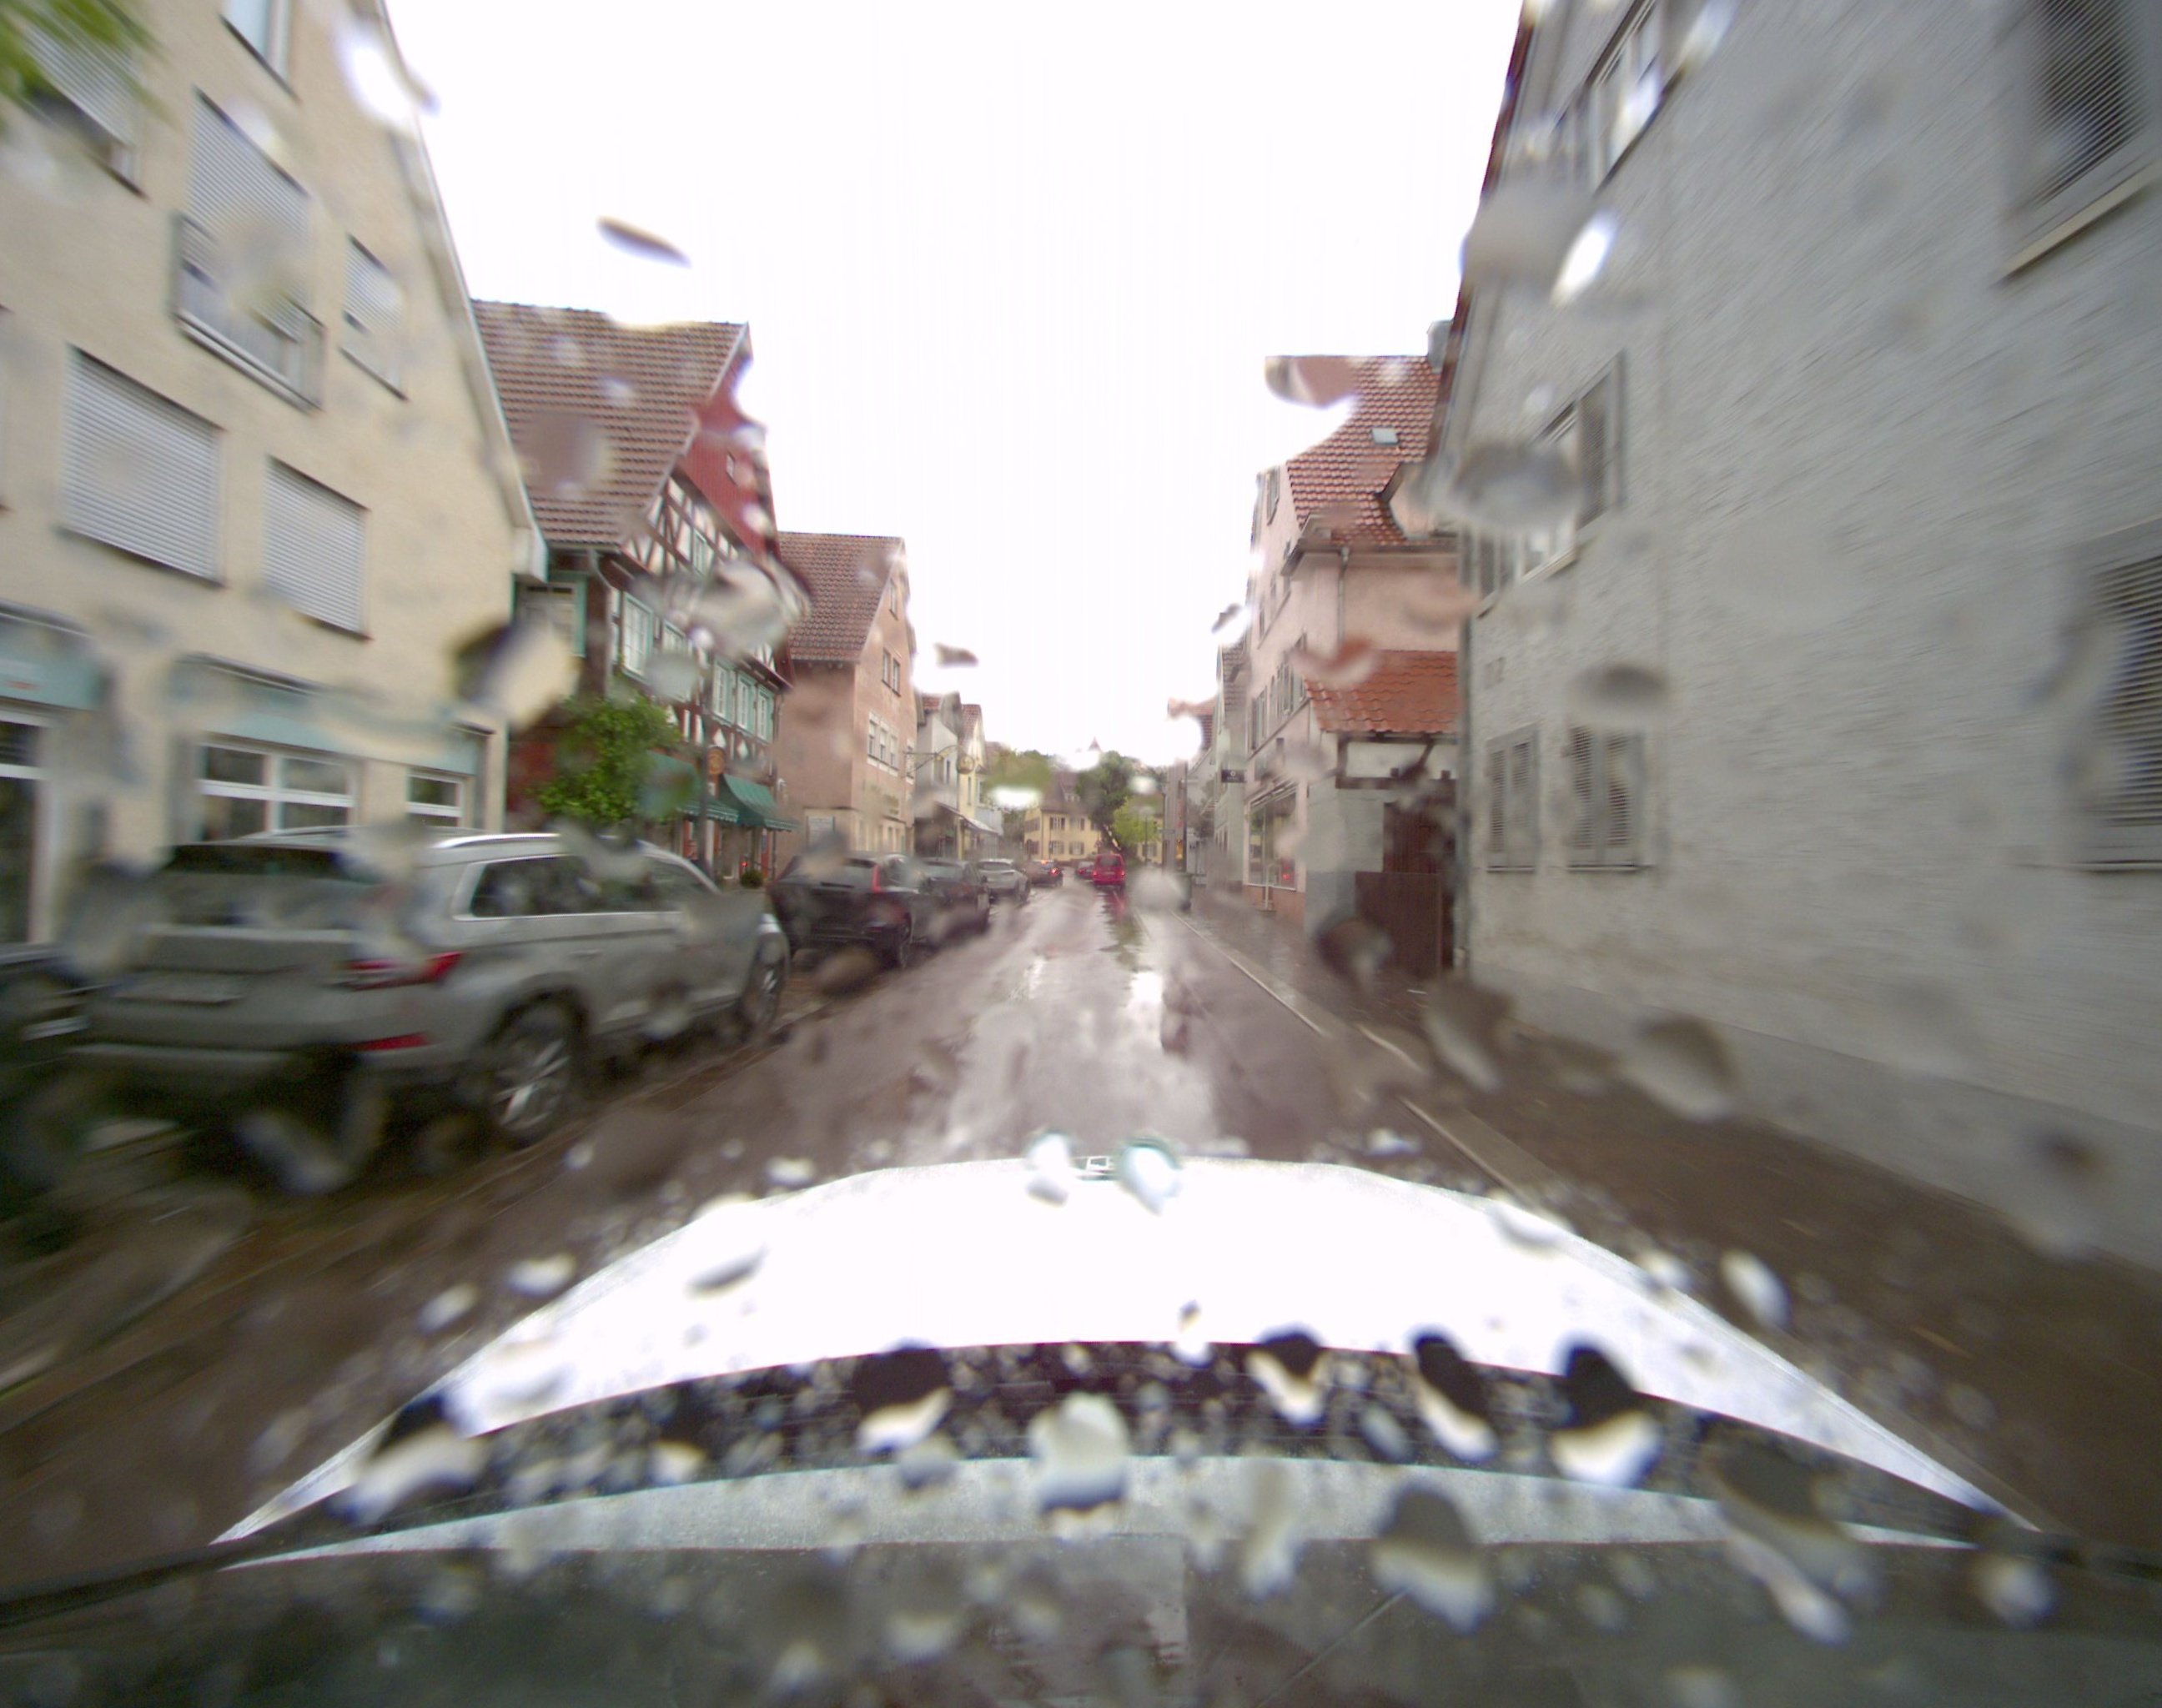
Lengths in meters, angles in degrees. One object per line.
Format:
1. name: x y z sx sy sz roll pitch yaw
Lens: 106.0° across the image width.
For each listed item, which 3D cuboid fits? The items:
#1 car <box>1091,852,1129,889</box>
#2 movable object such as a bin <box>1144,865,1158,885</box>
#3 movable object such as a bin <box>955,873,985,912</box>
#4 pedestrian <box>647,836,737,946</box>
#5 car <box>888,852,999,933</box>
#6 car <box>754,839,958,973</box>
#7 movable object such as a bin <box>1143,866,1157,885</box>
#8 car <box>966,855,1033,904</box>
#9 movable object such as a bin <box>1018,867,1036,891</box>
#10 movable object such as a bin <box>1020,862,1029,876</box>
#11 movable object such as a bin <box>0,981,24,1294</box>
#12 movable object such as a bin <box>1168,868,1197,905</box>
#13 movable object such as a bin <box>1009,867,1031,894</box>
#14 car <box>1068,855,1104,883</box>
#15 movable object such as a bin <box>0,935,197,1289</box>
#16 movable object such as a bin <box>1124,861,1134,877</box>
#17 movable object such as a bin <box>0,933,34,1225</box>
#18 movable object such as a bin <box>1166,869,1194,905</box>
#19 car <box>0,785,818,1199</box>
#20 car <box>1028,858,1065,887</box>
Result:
1. car: 1.558 0.831 43.871 1.887 1.811 4.003 3 0 2
2. movable object such as a bin: 4.002 1.195 46.387 0.765 1.080 0.599 2 -2 2
3. movable object such as a bin: -3.118 1.074 22.945 0.767 1.082 0.675 1 -2 -3
4. pedestrian: -6.252 0.586 13.157 0.785 1.682 1.176 2 -2 0
5. car: -3.012 0.781 18.693 1.774 1.538 4.289 3 0 -1
6. car: -3.259 0.649 12.855 1.818 1.666 4.643 2 1 1
7. movable object such as a bin: 4.004 1.219 47.079 0.751 1.064 0.600 2 -2 3
8. car: -2.858 0.864 29.474 1.684 1.538 4.125 2 0 4
9. movable object such as a bin: -2.453 1.150 37.102 0.706 1.052 0.704 2 -2 3
10. movable object such as a bin: -4.351 1.149 62.557 0.659 1.110 0.614 2 -2 -6
11. movable object such as a bin: -3.477 0.891 2.163 0.550 1.046 0.534 2 -2 -2
12. movable object such as a bin: 3.065 0.976 24.681 0.790 1.081 0.614 1 -2 -1
13. movable object such as a bin: -2.592 1.123 34.642 0.783 1.084 0.694 2 0 4
14. car: 0.284 1.028 55.136 1.990 1.799 3.992 2 -2 -5
15. movable object such as a bin: -3.842 0.871 2.825 0.614 1.102 0.781 2 -2 -1
16. movable object such as a bin: 3.609 1.133 61.024 0.630 1.150 0.578 2 -2 -6
17. movable object such as a bin: -4.457 0.854 2.799 0.614 1.120 0.781 2 -2 -1
18. movable object such as a bin: 3.068 1.015 25.300 0.794 1.081 0.582 1 -2 -1
19. car: -3.657 0.643 5.750 1.817 1.666 4.645 2 -2 3
20. car: -1.880 1.016 45.906 1.685 1.443 3.887 2 0 3
